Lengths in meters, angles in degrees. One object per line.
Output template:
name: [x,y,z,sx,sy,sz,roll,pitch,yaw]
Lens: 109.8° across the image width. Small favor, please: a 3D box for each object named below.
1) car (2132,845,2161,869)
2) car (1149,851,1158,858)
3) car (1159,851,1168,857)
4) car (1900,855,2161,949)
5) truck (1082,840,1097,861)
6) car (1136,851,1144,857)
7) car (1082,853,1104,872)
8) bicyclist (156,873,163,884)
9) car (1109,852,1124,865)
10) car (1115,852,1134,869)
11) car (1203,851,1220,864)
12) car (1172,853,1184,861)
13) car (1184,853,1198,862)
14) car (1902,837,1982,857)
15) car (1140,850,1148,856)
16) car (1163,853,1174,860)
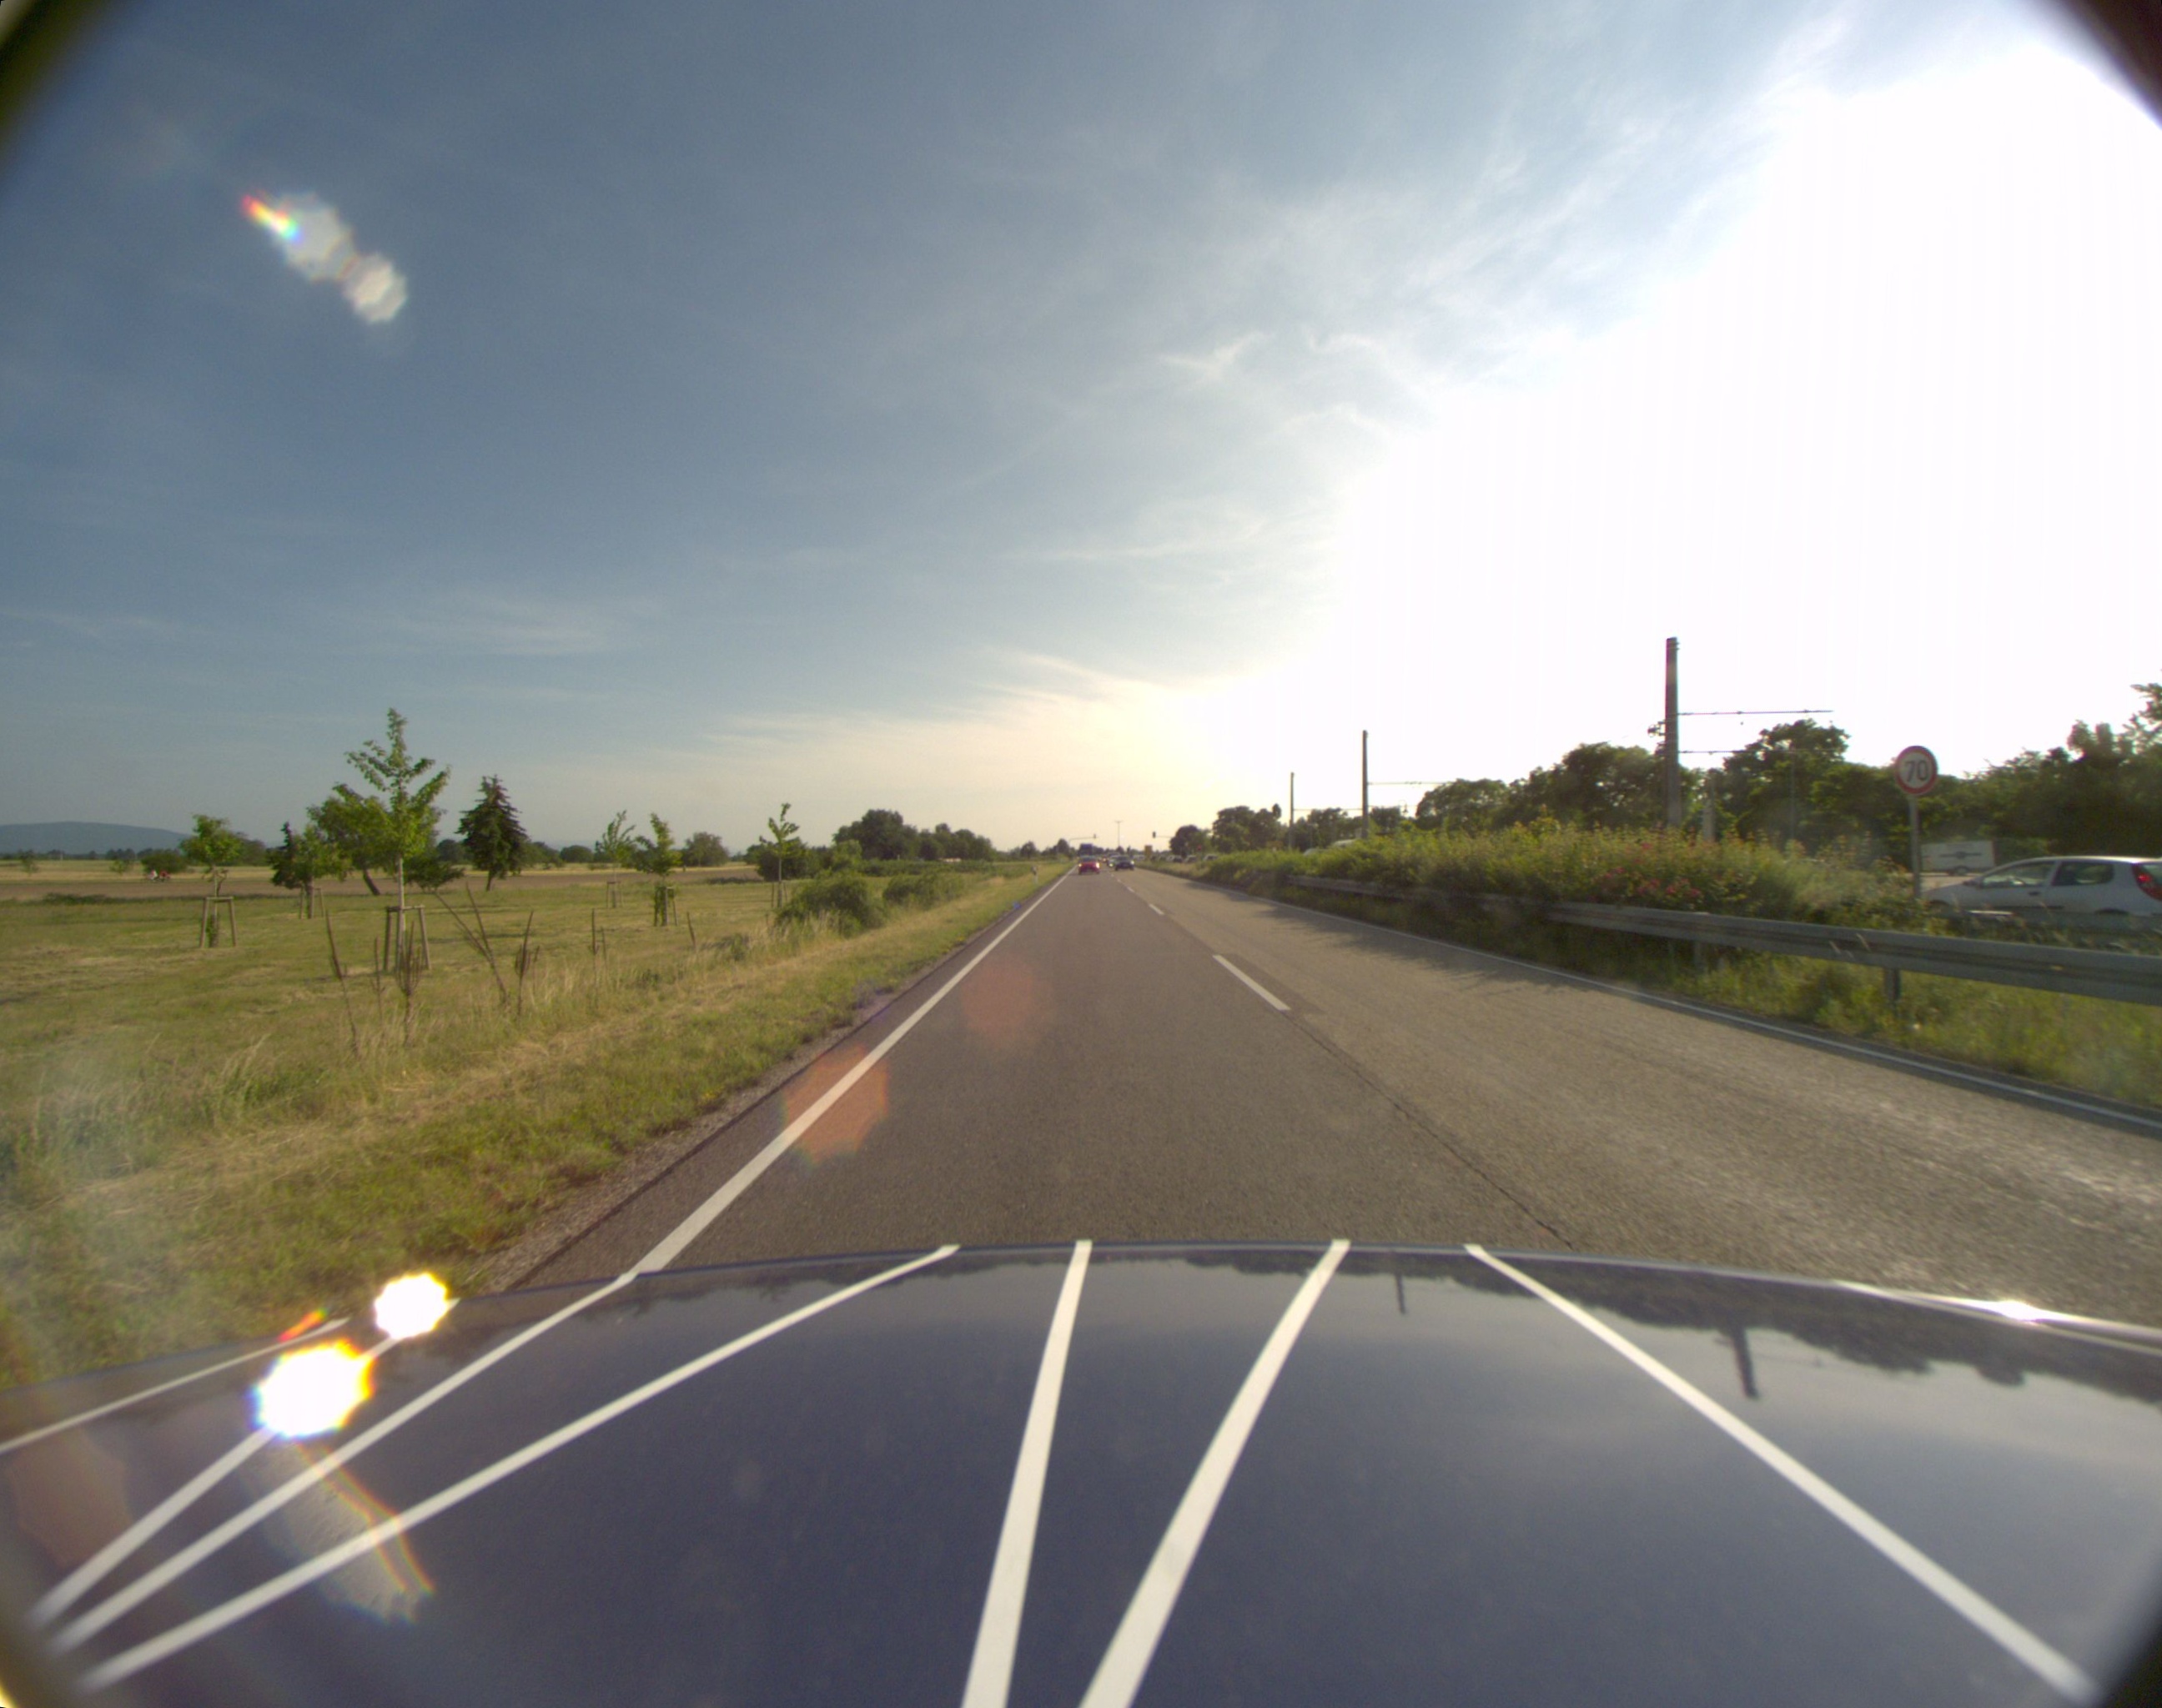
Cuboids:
car: [65.418,0.198,44.820,1.733,1.358,3.622,2,0,0]
car: [18.412,0.140,192.897,1.801,1.580,4.000,1,0,0]
car: [18.831,-0.031,173.505,1.664,1.373,4.000,1,0,0]
car: [16.845,0.741,12.988,1.733,1.358,3.622,2,0,0]
truck: [1.714,-0.666,153.930,2.850,3.896,10.104,-2,0,1]
car: [15.254,0.030,197.073,1.756,1.499,4.583,1,0,1]
car: [1.004,0.689,62.478,1.735,1.467,4.000,-2,0,1]
bicyclist: [-131.008,3.497,107.967,0.486,1.587,0.551,-2,1,43]
car: [4.335,0.510,92.476,1.636,1.442,4.000,-2,0,1]
car: [4.178,0.614,73.260,1.636,1.500,4.000,-2,0,1]
car: [17.823,0.421,103.739,1.664,1.677,4.229,1,0,0]
car: [17.839,0.495,140.205,1.664,1.407,4.975,1,0,0]
car: [17.528,0.561,121.056,1.664,1.373,4.541,1,0,0]
car: [63.553,-0.551,56.176,3.611,1.358,1.739,2,0,38]
car: [15.339,-0.338,185.329,1.823,1.461,4.294,1,0,1]
car: [17.939,0.454,155.441,1.664,1.373,4.468,1,0,0]
